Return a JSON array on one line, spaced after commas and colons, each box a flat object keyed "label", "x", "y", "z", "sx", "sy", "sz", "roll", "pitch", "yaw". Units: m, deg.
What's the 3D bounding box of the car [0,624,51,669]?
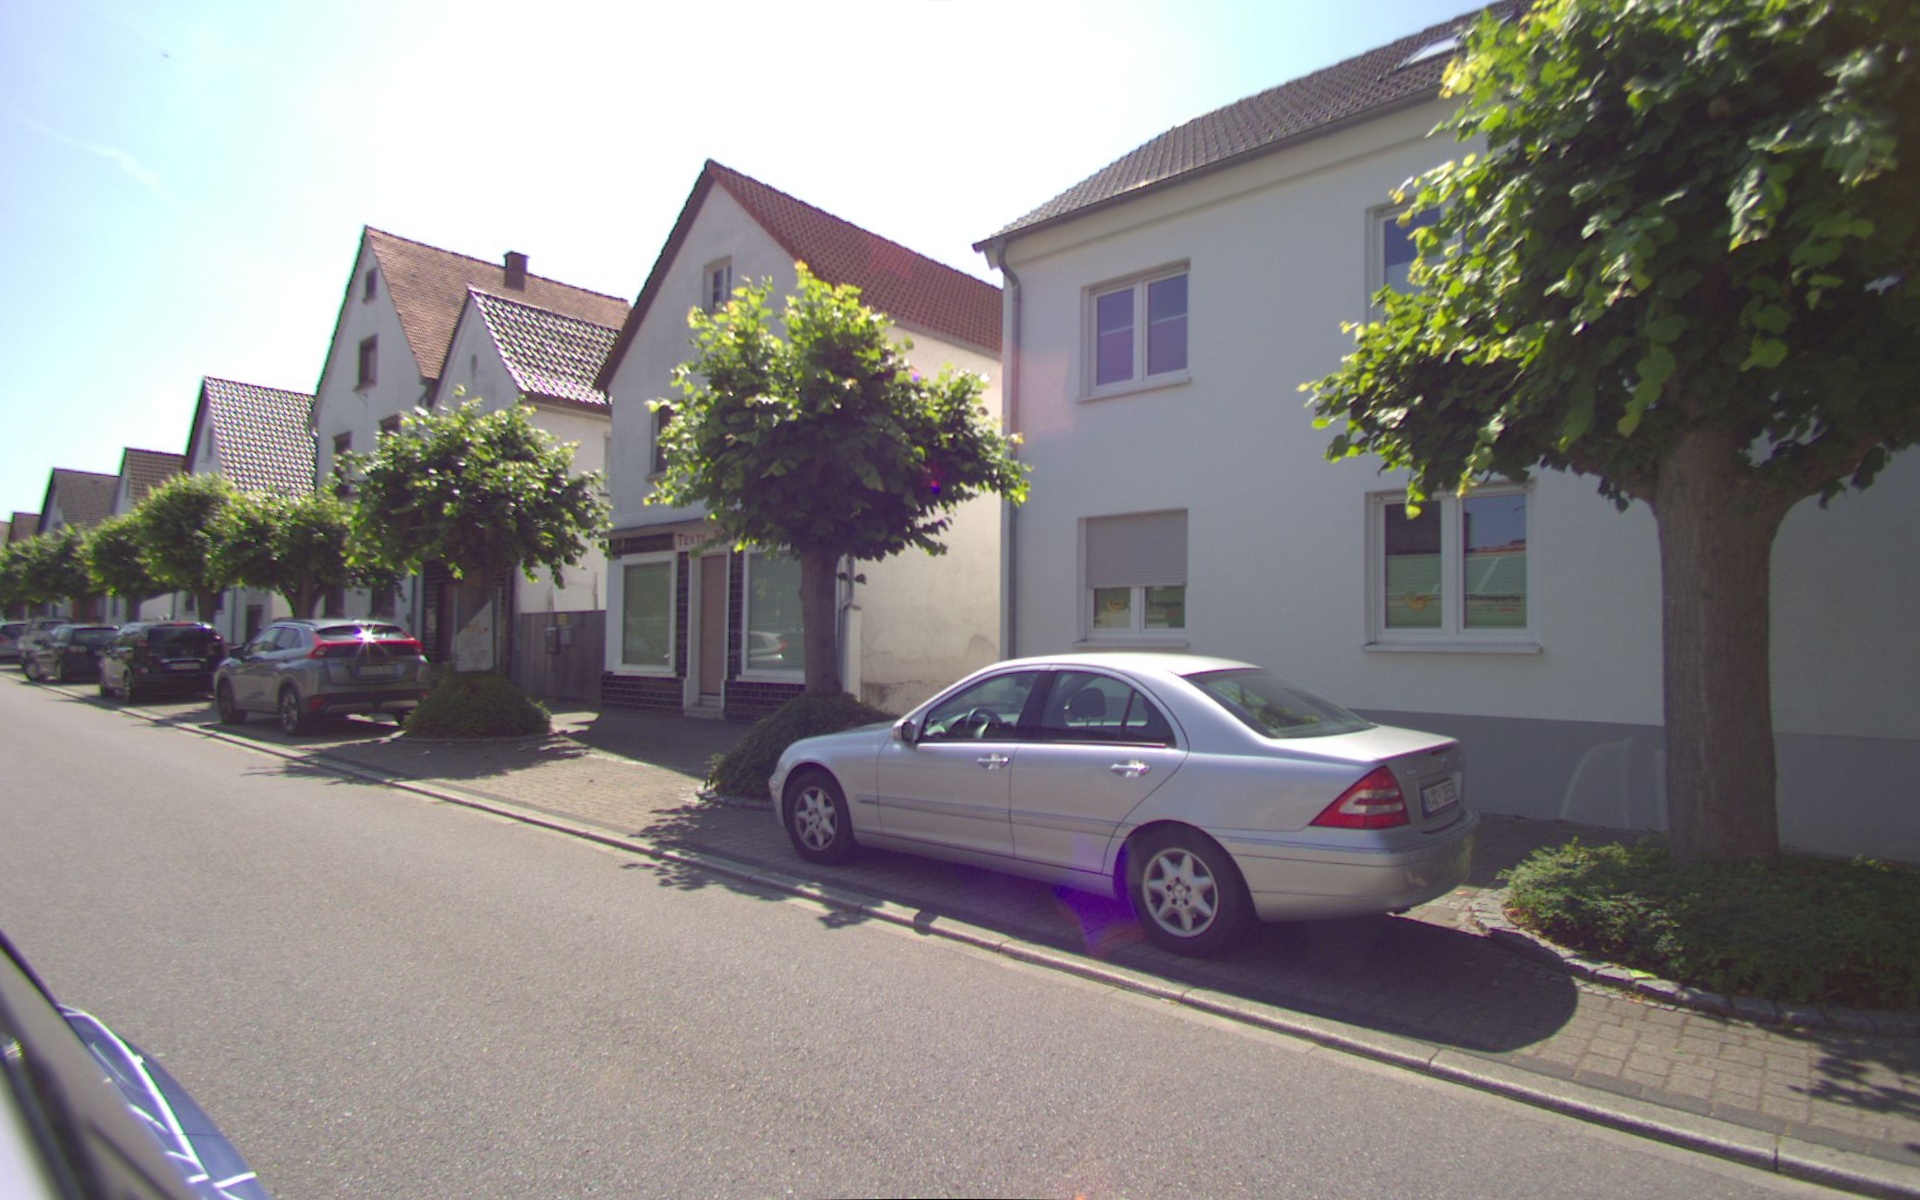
[{"label": "car", "x": -36.653, "y": 1.747, "z": 39.029, "sx": 4.368, "sy": 1.625, "sz": 1.834, "roll": -1, "pitch": -1, "yaw": 41}]

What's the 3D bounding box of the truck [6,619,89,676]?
[{"label": "truck", "x": -30.522, "y": 1.521, "z": 33.823, "sx": 4.190, "sy": 1.779, "sz": 1.560, "roll": -1, "pitch": -1, "yaw": 41}]

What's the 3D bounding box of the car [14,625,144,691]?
[{"label": "car", "x": -23.885, "y": 1.503, "z": 27.417, "sx": 3.991, "sy": 1.646, "sz": 1.770, "roll": -1, "pitch": -2, "yaw": 36}]

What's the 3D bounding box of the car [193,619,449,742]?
[{"label": "car", "x": -10.024, "y": 1.161, "z": 15.772, "sx": 4.361, "sy": 1.665, "sz": 1.975, "roll": -1, "pitch": -3, "yaw": 38}]

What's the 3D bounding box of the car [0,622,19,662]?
[{"label": "car", "x": -42.131, "y": 1.834, "z": 43.627, "sx": 4.296, "sy": 1.649, "sz": 1.834, "roll": -2, "pitch": -2, "yaw": 41}]

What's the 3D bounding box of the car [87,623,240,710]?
[{"label": "car", "x": -17.011, "y": 1.321, "z": 21.560, "sx": 4.054, "sy": 1.647, "sz": 1.834, "roll": -1, "pitch": -1, "yaw": 41}]

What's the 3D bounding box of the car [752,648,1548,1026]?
[{"label": "car", "x": 0.854, "y": 1.023, "z": 6.100, "sx": 4.403, "sy": 1.406, "sz": 1.822, "roll": -1, "pitch": -3, "yaw": 41}]
